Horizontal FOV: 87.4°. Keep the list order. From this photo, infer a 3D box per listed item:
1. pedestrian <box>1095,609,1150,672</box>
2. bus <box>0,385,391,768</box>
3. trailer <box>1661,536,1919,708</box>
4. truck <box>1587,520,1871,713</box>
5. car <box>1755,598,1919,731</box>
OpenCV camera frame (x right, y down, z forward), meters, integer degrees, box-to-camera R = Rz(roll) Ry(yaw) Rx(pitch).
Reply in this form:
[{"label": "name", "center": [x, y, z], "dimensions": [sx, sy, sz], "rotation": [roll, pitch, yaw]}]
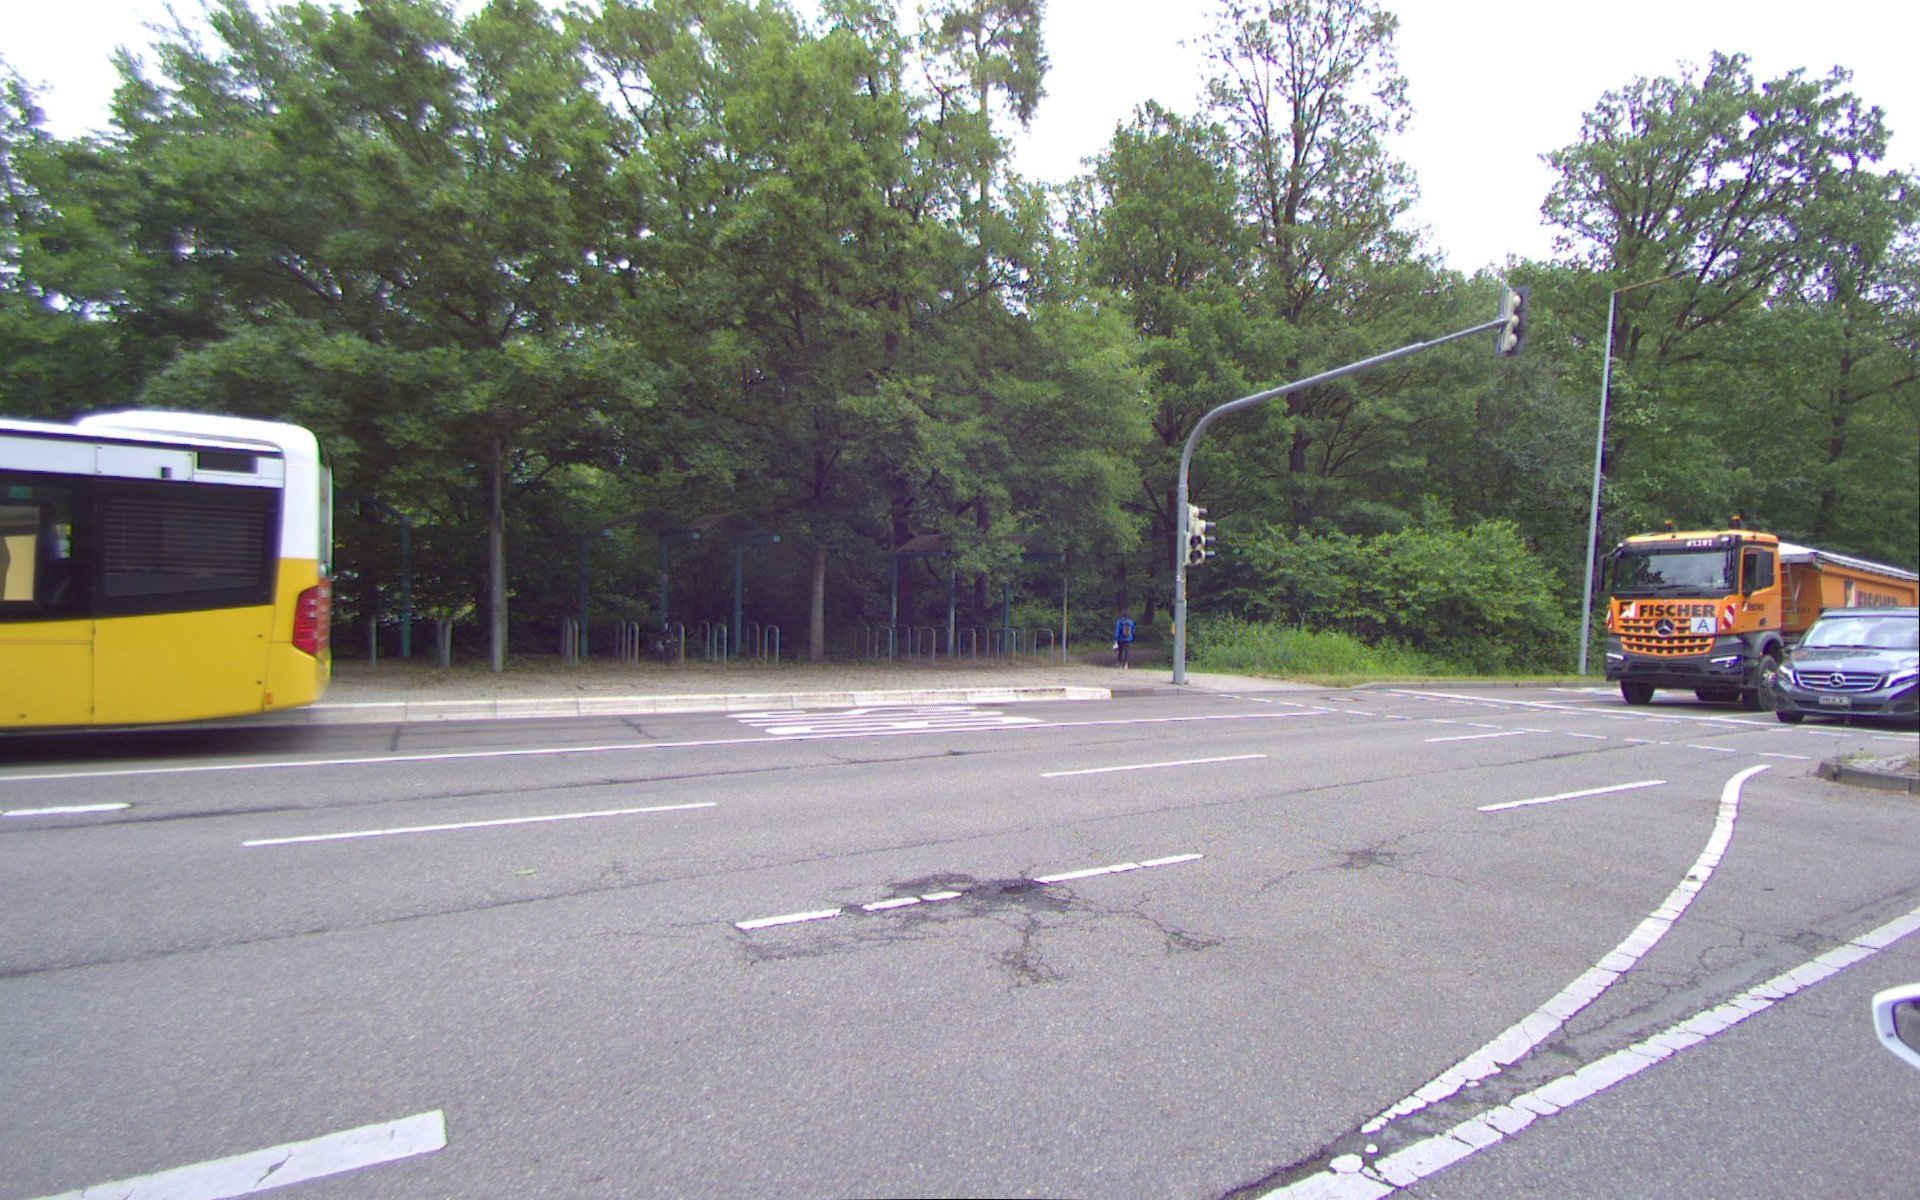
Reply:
[{"label": "pedestrian", "center": [4.604, 1.138, 28.499], "dimensions": [1.056, 1.671, 1.042], "rotation": [0, 4, -29]}, {"label": "bus", "center": [-9.964, -0.238, 8.809], "dimensions": [8.592, 3.168, 2.885], "rotation": [1, 0, -30]}, {"label": "trailer", "center": [19.486, 0.609, 23.220], "dimensions": [8.486, 3.362, 2.720], "rotation": [3, -2, -36]}, {"label": "truck", "center": [16.004, 0.437, 20.721], "dimensions": [7.090, 3.362, 2.721], "rotation": [3, -2, -35]}, {"label": "car", "center": [15.298, 1.022, 16.664], "dimensions": [4.789, 1.918, 1.981], "rotation": [2, -2, -34]}]
